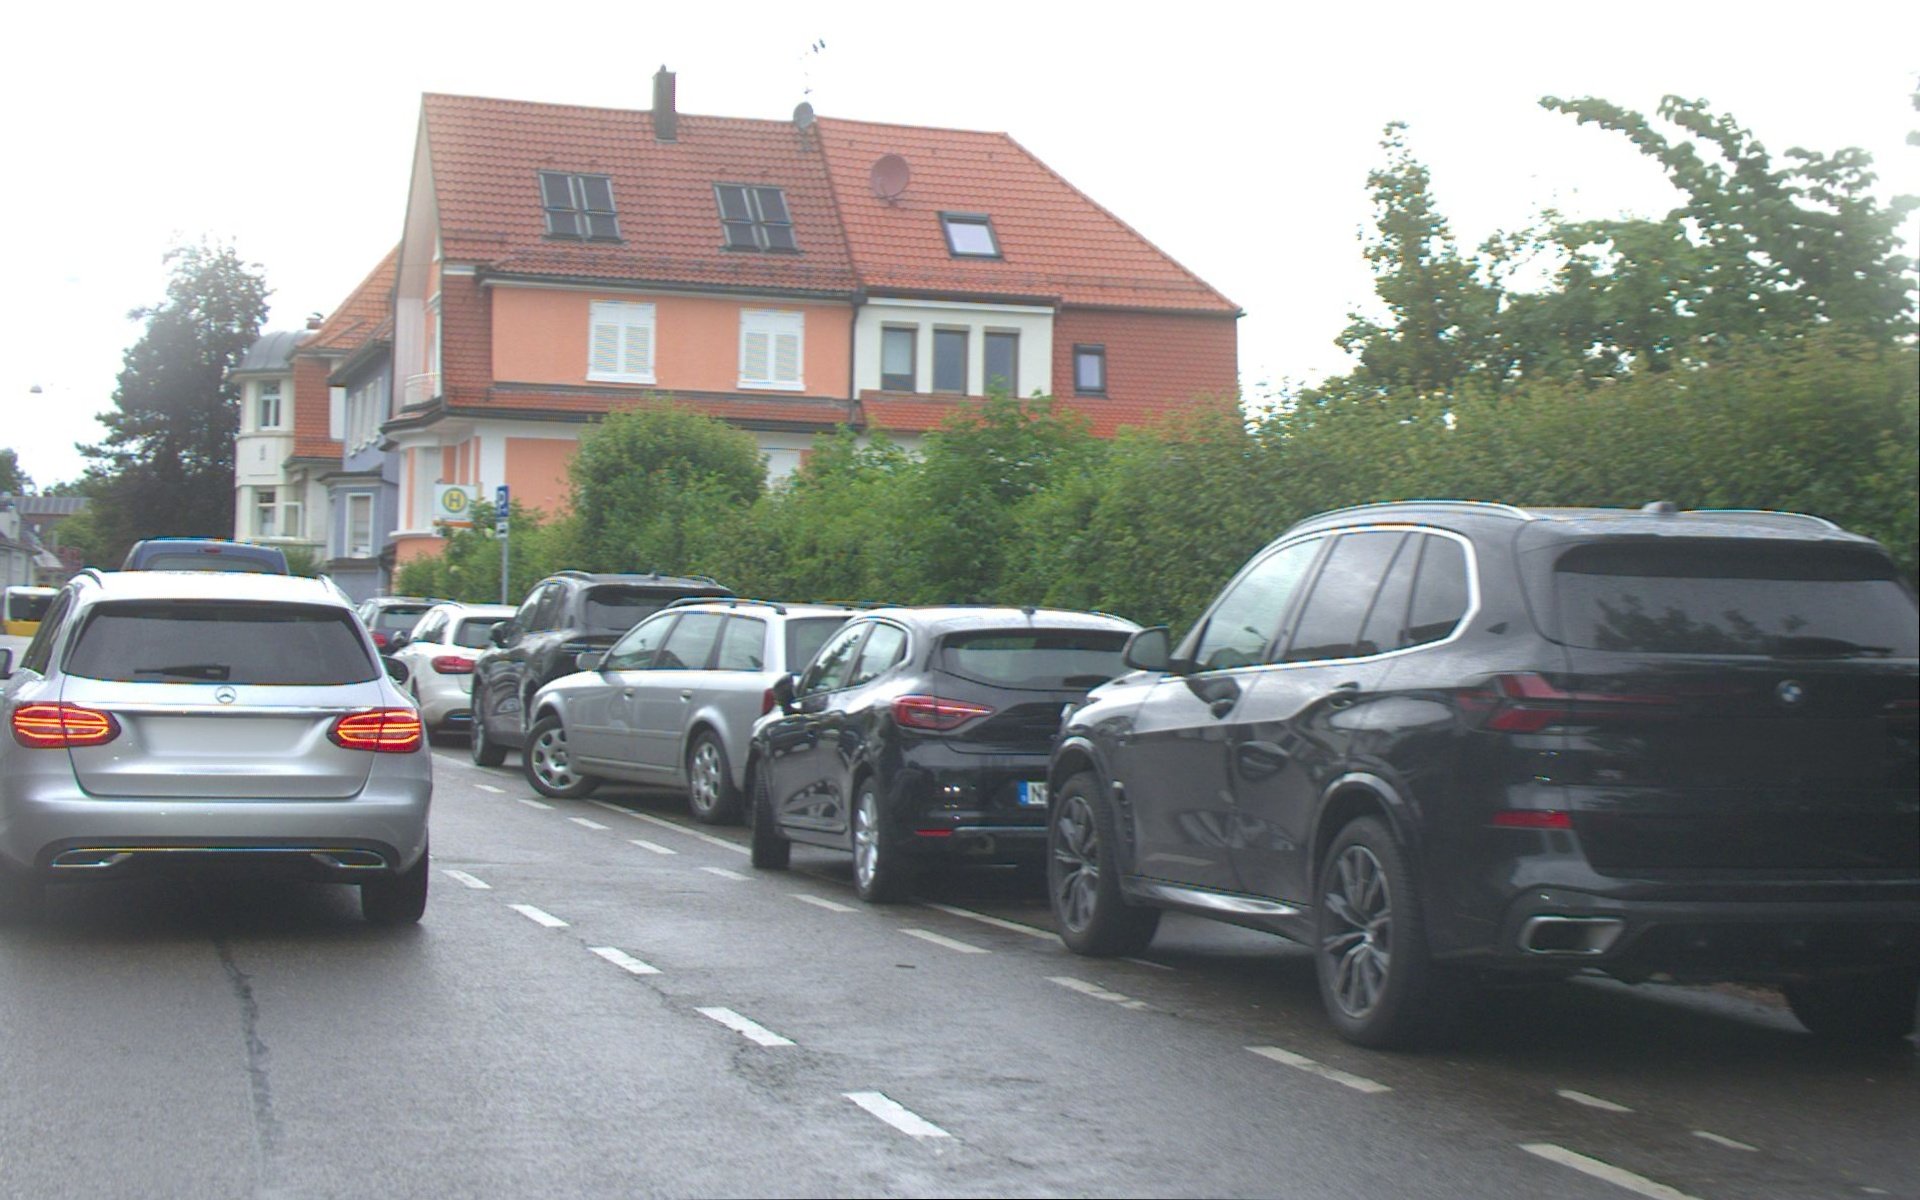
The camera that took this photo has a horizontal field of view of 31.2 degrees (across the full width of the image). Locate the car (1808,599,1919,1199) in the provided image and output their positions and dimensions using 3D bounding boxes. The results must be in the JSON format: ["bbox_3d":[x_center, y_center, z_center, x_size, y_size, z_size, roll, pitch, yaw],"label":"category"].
[{"bbox_3d":[3.469,0.738,7.001,1.670,1.409,3.743,0,1,-17],"label":"car"}]

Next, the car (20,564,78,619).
[{"bbox_3d":[-42.145,-0.412,159.009,2.466,2.392,4.001,-2,1,-16],"label":"car"}]

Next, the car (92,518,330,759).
[{"bbox_3d":[-6.636,0.263,30.325,1.823,1.876,4.097,-3,2,-13],"label":"car"}]

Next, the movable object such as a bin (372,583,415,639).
[{"bbox_3d":[-10.778,0.205,65.419,0.711,1.026,0.757,-1,1,-17],"label":"movable object such as a bin"}]

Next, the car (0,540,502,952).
[{"bbox_3d":[-3.317,0.526,15.208,1.982,1.548,4.299,0,1,-15],"label":"car"}]

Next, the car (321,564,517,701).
[{"bbox_3d":[-6.555,0.359,41.299,1.753,1.525,4.207,2,0,-16],"label":"car"}]

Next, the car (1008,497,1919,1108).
[{"bbox_3d":[1.845,0.543,12.613,2.026,1.776,4.900,0,1,-15],"label":"car"}]

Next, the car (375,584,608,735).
[{"bbox_3d":[-4.979,0.580,36.028,1.713,1.400,4.609,2,0,-16],"label":"car"}]

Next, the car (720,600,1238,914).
[{"bbox_3d":[-0.029,0.721,17.789,1.688,1.417,3.984,0,0,-15],"label":"car"}]

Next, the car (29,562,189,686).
[{"bbox_3d":[-10.763,0.260,43.332,1.853,1.453,4.096,0,1,-15],"label":"car"}]

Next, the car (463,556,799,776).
[{"bbox_3d":[-2.873,0.497,29.057,1.886,1.657,4.549,2,0,-17],"label":"car"}]

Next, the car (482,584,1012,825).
[{"bbox_3d":[-1.608,0.659,23.981,1.799,1.435,4.643,1,1,-30],"label":"car"}]
